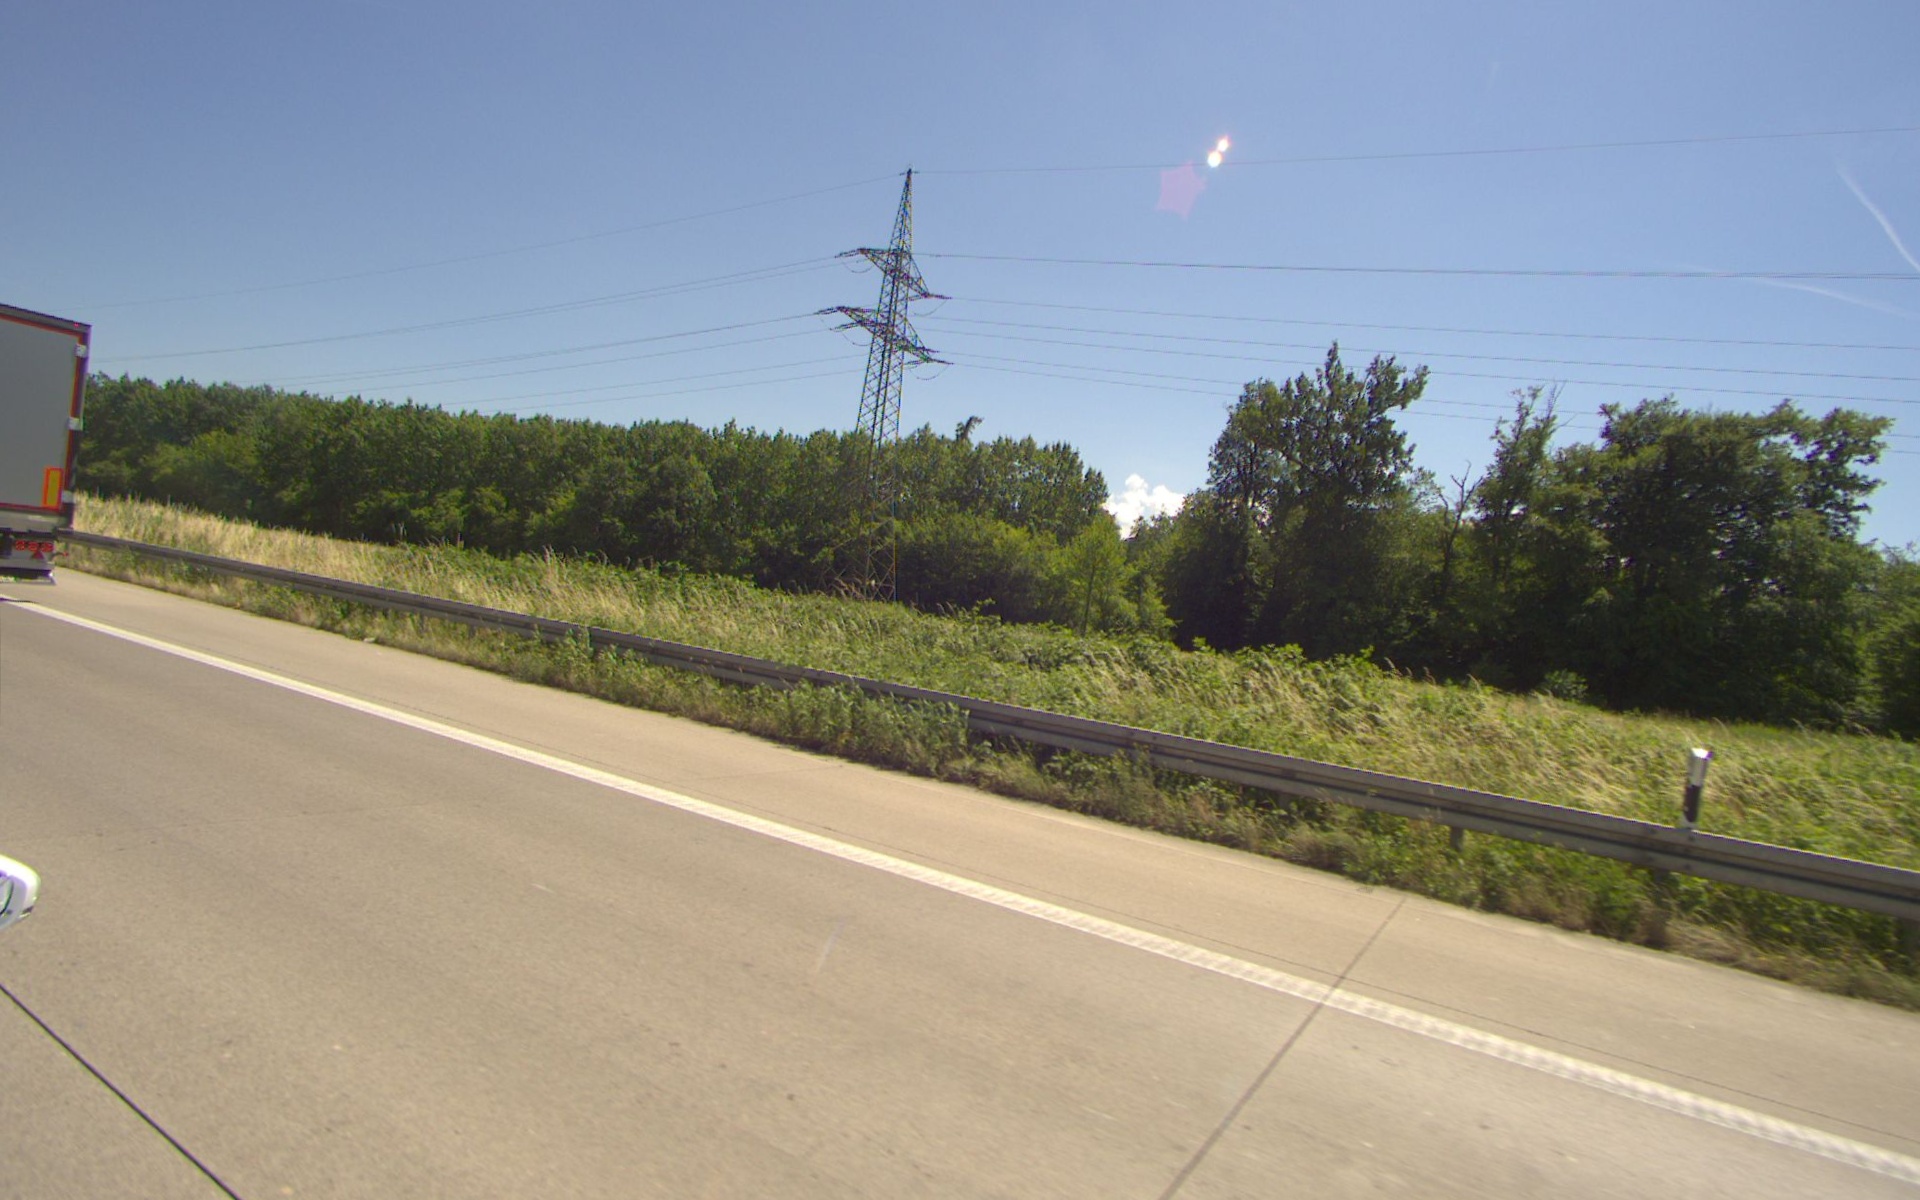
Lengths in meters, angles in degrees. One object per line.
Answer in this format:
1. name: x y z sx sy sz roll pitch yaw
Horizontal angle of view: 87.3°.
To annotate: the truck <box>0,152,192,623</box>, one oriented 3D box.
1. truck: -20.020 -3.812 17.535 17.937 5.857 3.584 8 0 30
